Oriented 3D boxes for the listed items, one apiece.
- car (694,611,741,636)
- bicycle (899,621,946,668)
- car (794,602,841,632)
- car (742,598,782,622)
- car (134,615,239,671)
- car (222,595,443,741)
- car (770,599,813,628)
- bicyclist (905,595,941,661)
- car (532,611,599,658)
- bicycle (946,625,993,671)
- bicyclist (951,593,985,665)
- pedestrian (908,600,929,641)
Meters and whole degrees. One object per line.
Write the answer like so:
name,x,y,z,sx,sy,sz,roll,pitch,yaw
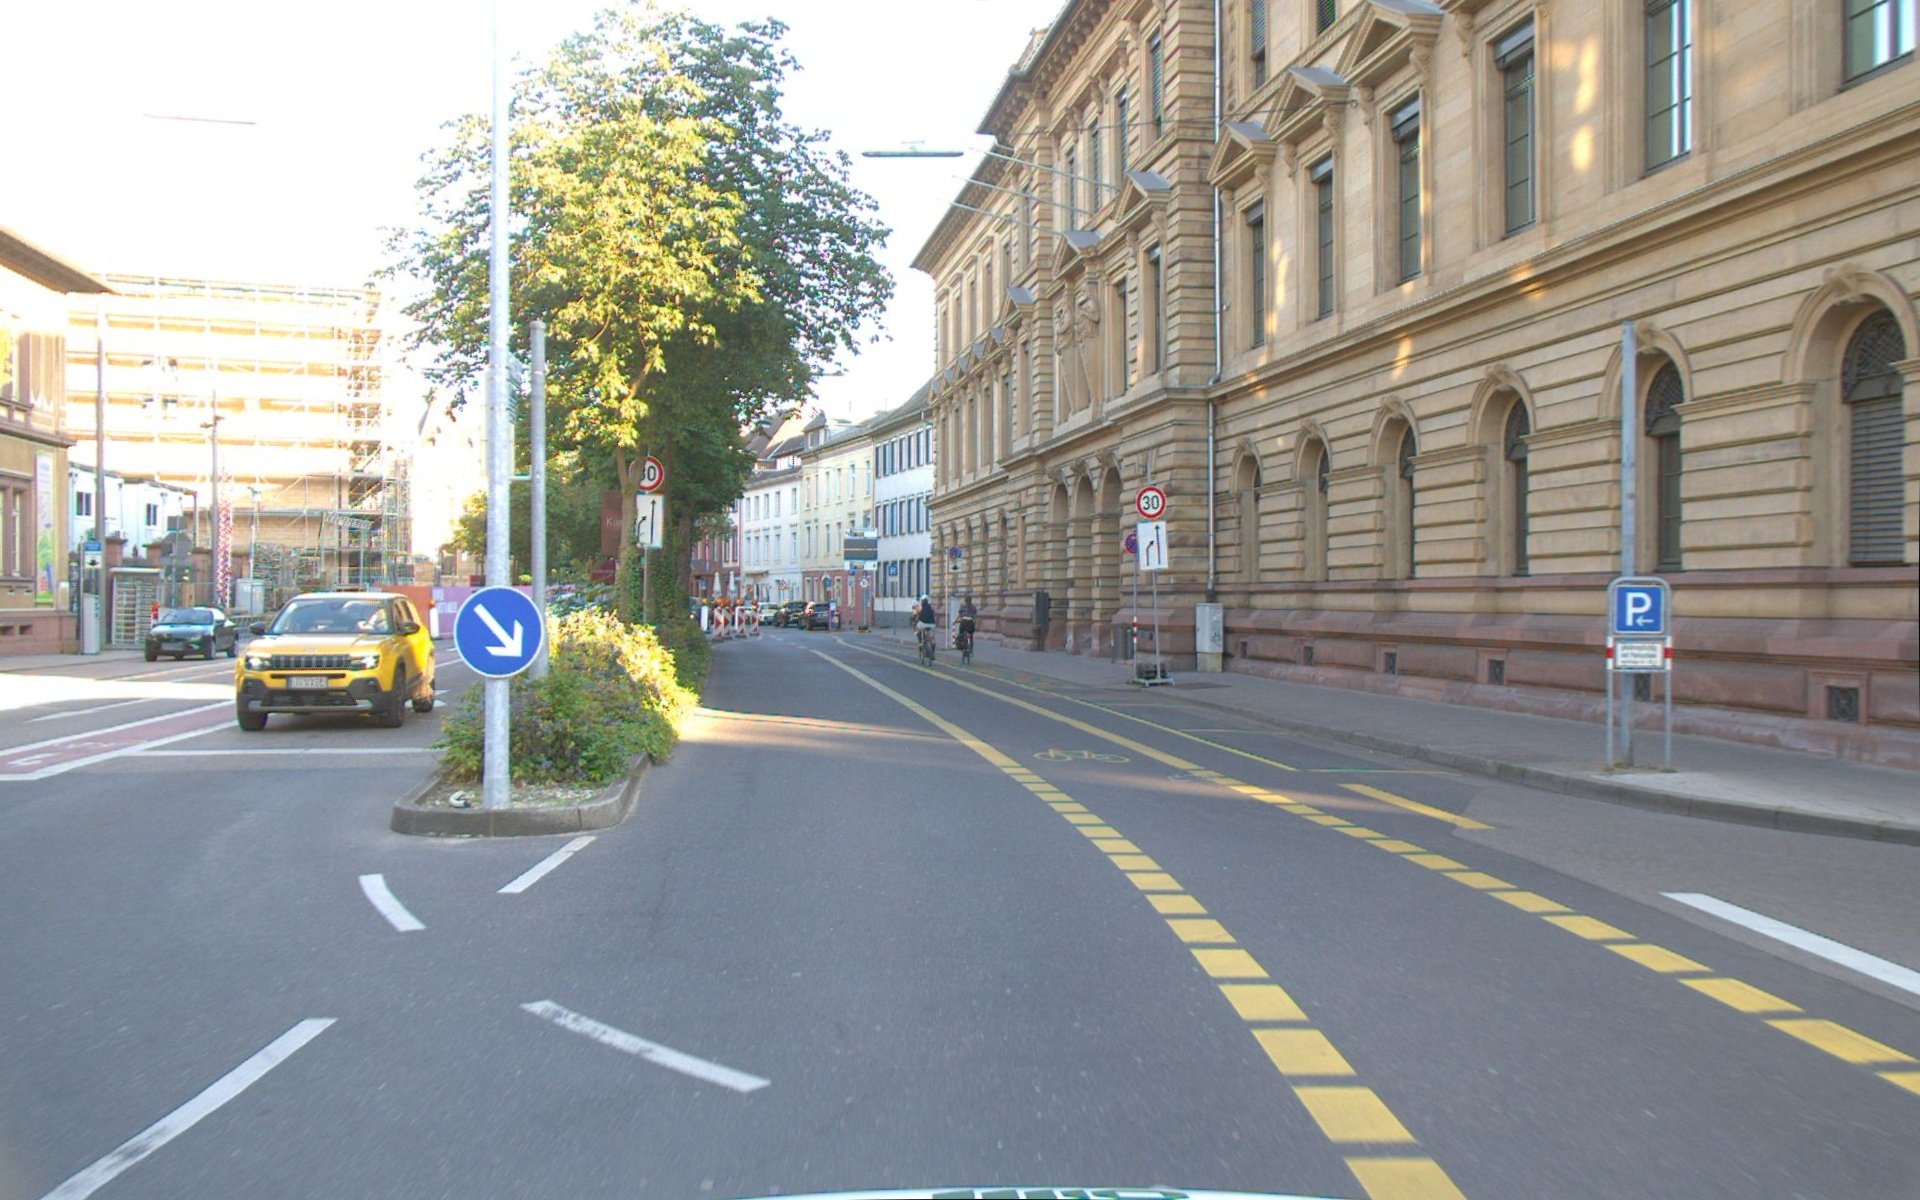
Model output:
car,-16.022,1.548,109.171,1.794,1.587,3.824,1,-1,-31
bicycle,-0.938,1.082,40.749,0.659,1.090,1.892,2,-1,-16
car,-8.265,0.975,95.614,1.785,1.712,3.897,1,-1,-19
car,-13.319,0.674,110.867,1.786,1.587,3.840,1,-1,-21
car,-20.516,1.106,44.022,1.650,1.375,3.875,-1,0,-12
car,-7.483,0.745,20.104,1.812,1.574,4.107,0,0,-11
car,-10.556,0.844,103.302,1.785,1.713,3.977,1,-1,-20
bicyclist,-0.912,0.689,40.670,0.658,1.593,0.695,2,-1,-16
car,-15.565,1.334,65.390,1.806,1.703,4.552,-1,0,-4
bicycle,0.221,1.202,41.989,0.641,1.089,2.250,2,-1,-14
bicyclist,0.197,0.735,42.182,0.638,1.791,0.861,2,-1,-14
pedestrian,-1.845,0.893,73.402,0.801,1.796,1.037,1,0,-5
